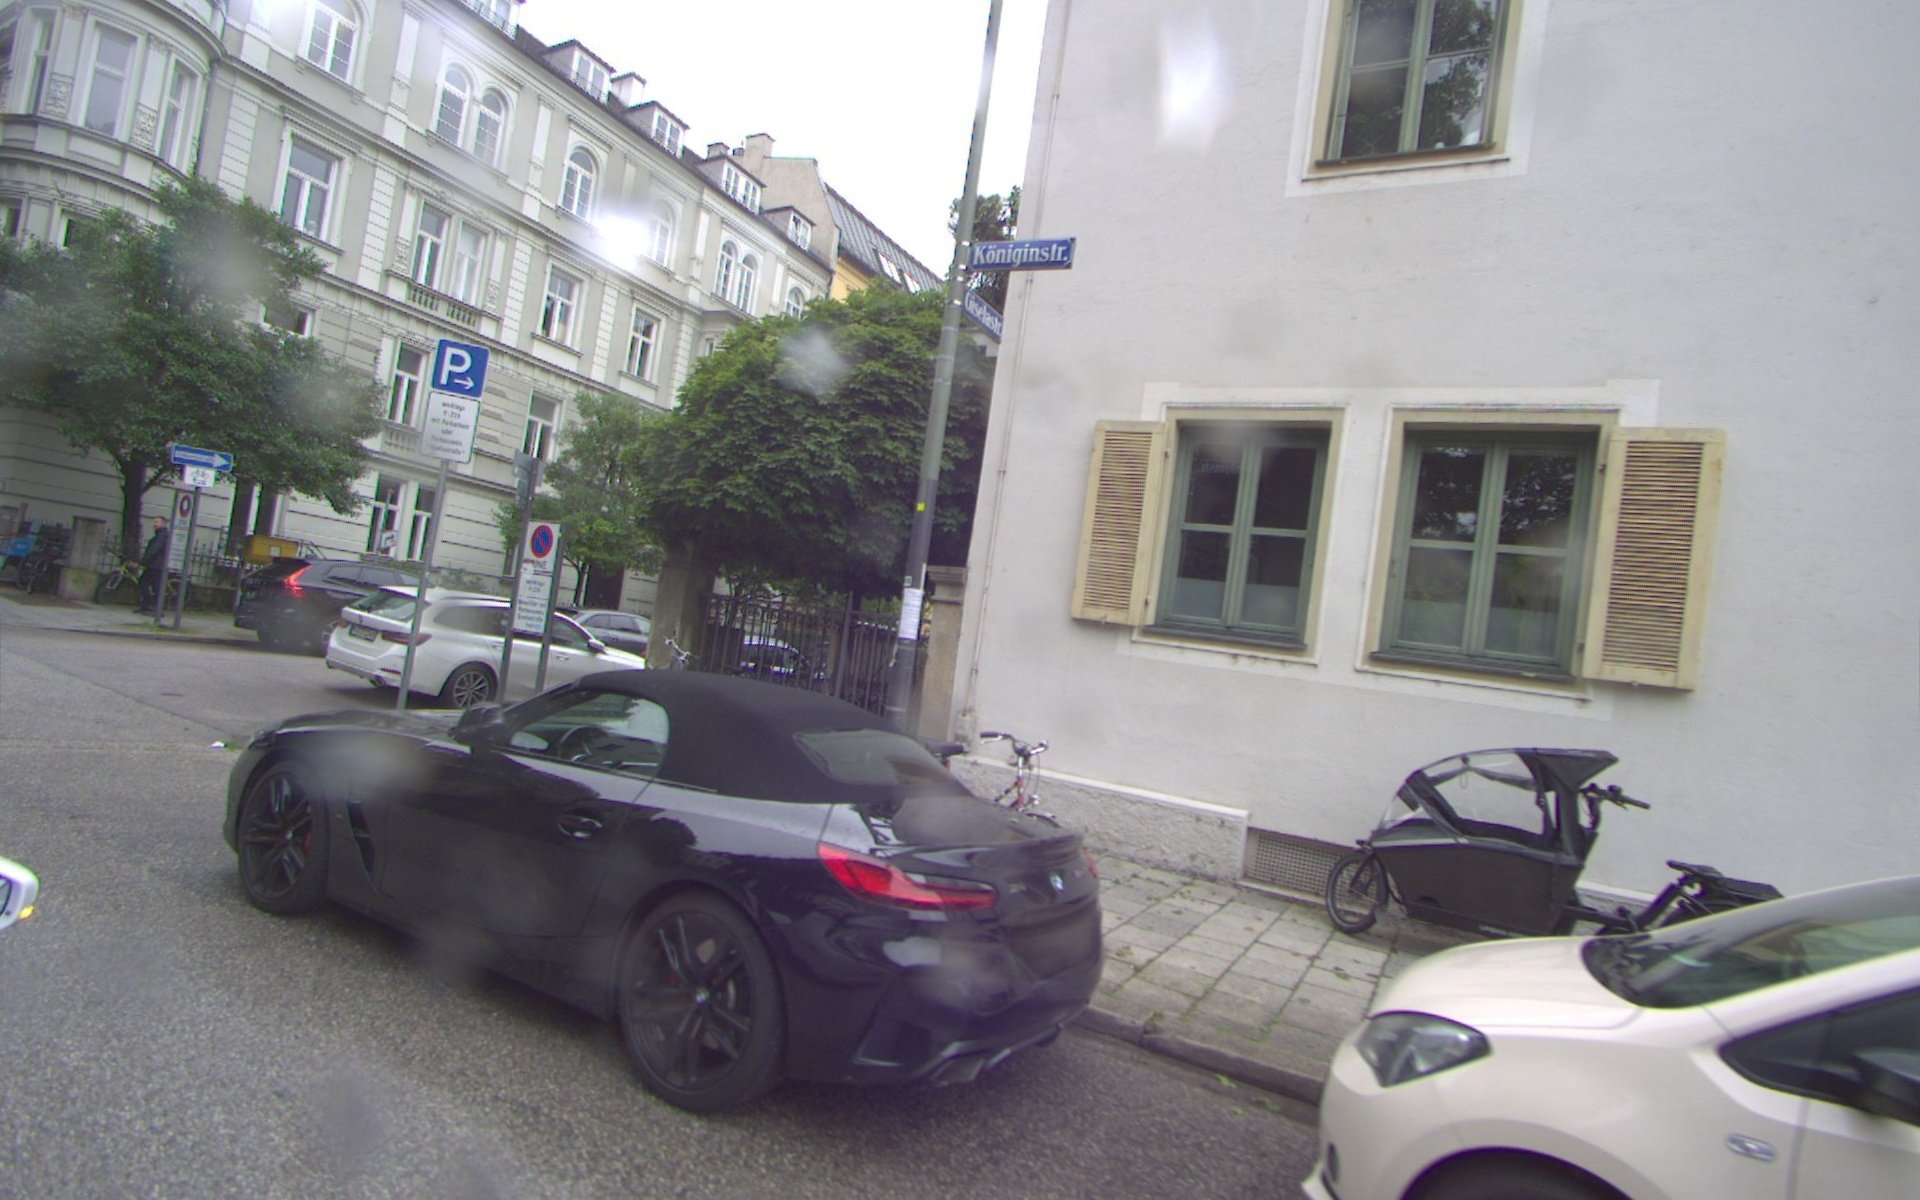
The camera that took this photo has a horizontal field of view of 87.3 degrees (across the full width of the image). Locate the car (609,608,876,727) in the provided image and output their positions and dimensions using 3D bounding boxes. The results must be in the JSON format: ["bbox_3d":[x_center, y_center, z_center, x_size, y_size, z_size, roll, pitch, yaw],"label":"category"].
[{"bbox_3d":[-3.728,1.325,18.319,1.902,1.522,4.878,9,-3,28],"label":"car"}]

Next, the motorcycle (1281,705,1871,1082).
[{"bbox_3d":[3.430,1.561,5.957,2.659,1.449,0.860,7,-3,28],"label":"motorcycle"}]

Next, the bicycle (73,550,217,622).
[{"bbox_3d":[-15.304,-0.247,18.941,0.548,1.039,1.926,8,-3,34],"label":"bicycle"}]

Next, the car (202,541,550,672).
[{"bbox_3d":[-10.206,0.231,18.127,1.911,1.669,5.056,3,-6,28],"label":"car"}]

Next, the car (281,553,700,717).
[{"bbox_3d":[-6.104,0.625,13.848,1.880,1.548,4.922,10,-2,29],"label":"car"}]

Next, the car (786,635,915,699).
[{"bbox_3d":[-3.258,2.099,30.882,1.703,1.556,4.338,3,-6,28],"label":"car"}]

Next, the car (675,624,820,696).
[{"bbox_3d":[-5.573,1.642,26.830,1.679,1.532,3.728,5,-4,27],"label":"car"}]

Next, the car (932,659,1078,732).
[{"bbox_3d":[1.348,2.689,27.738,1.895,1.449,4.801,9,-3,30],"label":"car"}]

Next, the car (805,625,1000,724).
[{"bbox_3d":[-1.133,1.767,22.777,1.993,1.709,4.850,7,-3,29],"label":"car"}]

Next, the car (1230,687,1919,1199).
[{"bbox_3d":[2.747,1.352,2.380,3.649,1.559,1.780,7,-8,31],"label":"car"}]

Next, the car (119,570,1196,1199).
[{"bbox_3d":[-1.490,0.836,4.569,4.516,1.335,2.004,7,-1,29],"label":"car"}]

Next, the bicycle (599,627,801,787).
[{"bbox_3d":[-2.474,0.988,9.535,1.745,1.239,0.544,6,-2,24],"label":"bicycle"}]

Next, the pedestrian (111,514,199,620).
[{"bbox_3d":[-14.368,-0.582,17.988,0.967,1.708,0.852,9,-2,-35],"label":"pedestrian"}]

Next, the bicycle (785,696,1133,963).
[{"bbox_3d":[-0.054,1.251,5.918,1.909,1.075,0.663,6,-2,37],"label":"bicycle"}]

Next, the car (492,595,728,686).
[{"bbox_3d":[-7.676,1.001,22.717,1.779,1.520,5.180,4,-5,26],"label":"car"}]

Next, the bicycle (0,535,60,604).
[{"bbox_3d":[-17.123,-0.570,18.387,1.859,1.039,0.430,8,-2,33],"label":"bicycle"}]

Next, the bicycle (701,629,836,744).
[{"bbox_3d":[-2.383,1.143,12.801,0.459,1.289,1.921,8,-3,26],"label":"bicycle"}]
